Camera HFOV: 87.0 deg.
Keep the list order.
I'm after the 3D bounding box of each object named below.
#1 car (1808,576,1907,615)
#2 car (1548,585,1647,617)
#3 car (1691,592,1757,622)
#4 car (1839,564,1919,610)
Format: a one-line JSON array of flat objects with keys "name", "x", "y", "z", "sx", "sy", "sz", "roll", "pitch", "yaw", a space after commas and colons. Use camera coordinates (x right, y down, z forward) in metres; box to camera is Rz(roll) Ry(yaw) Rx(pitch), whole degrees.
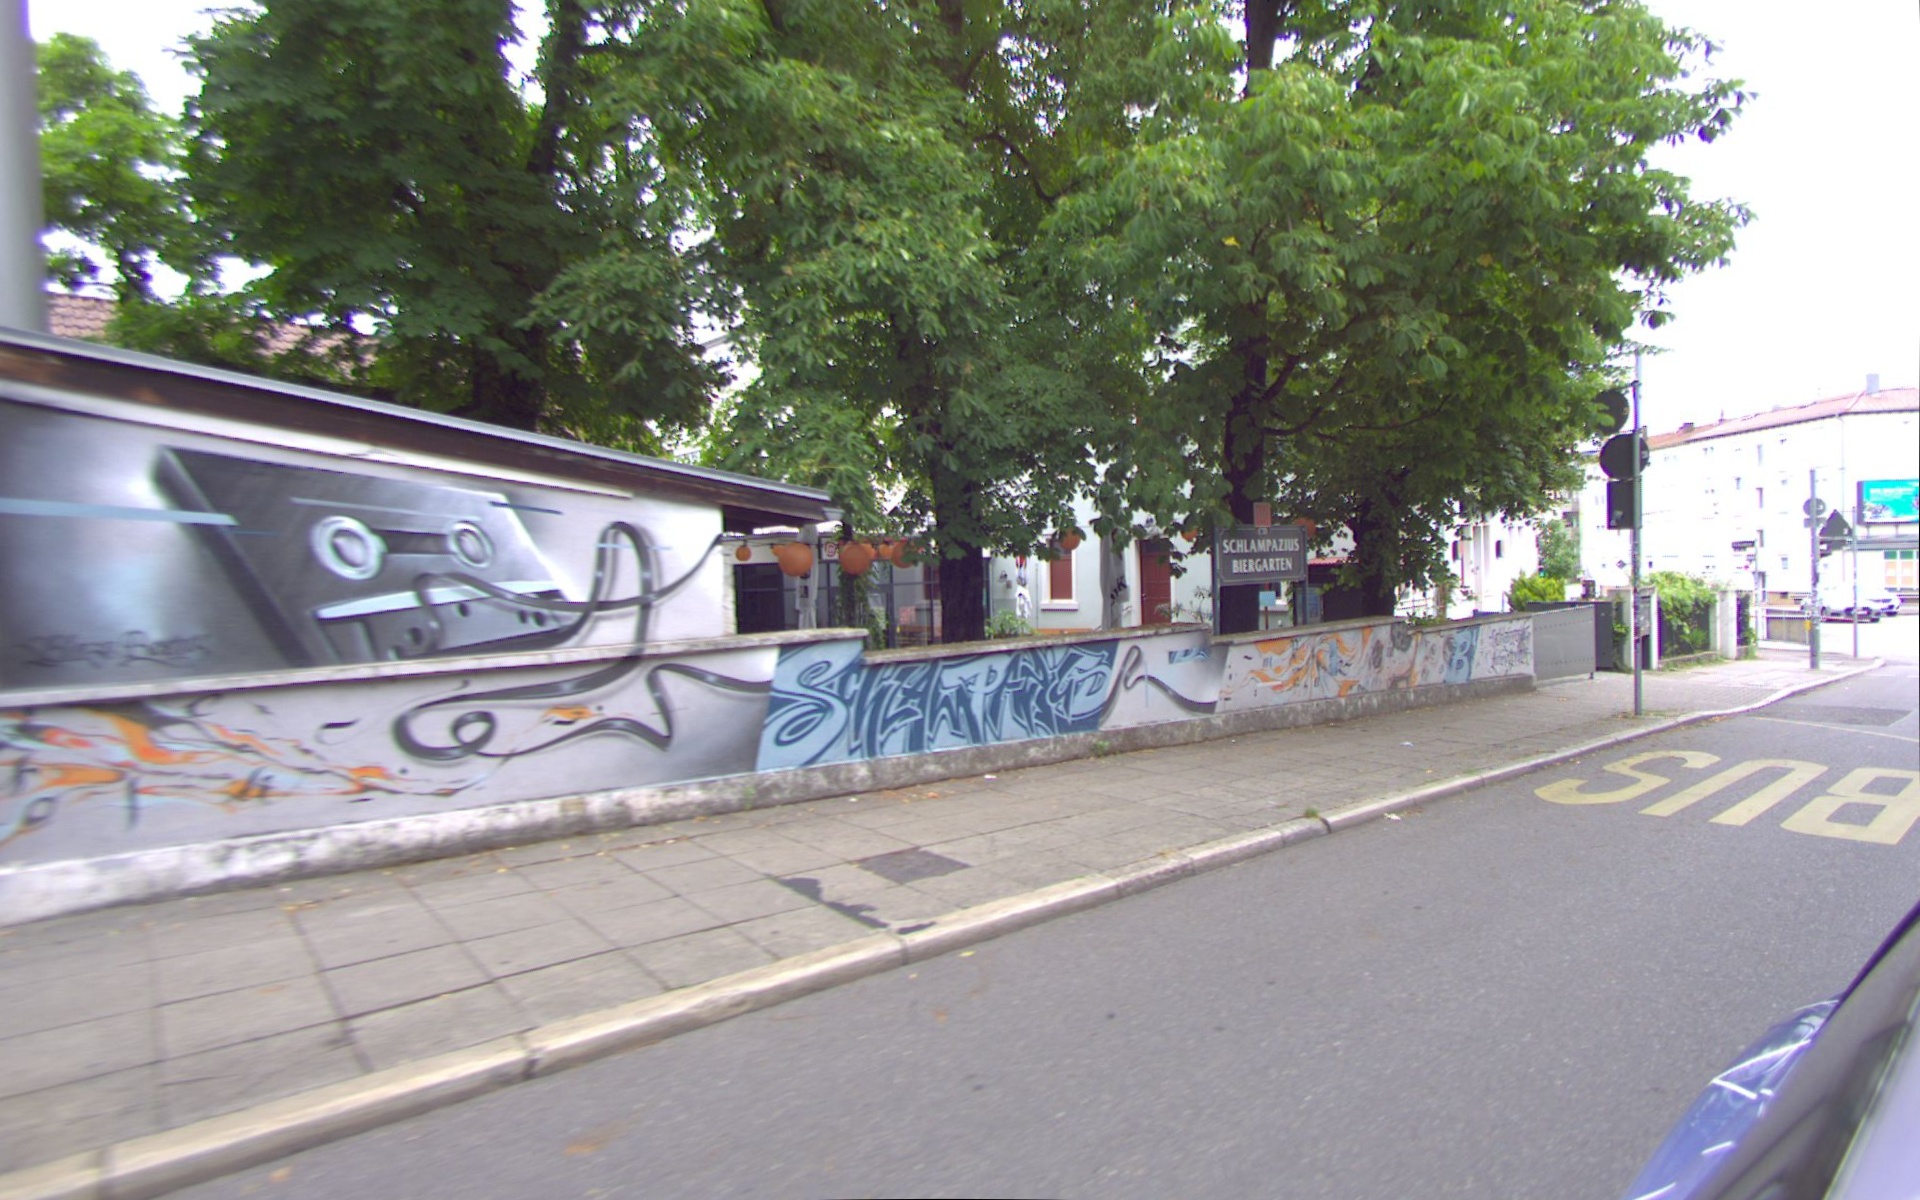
[{"name": "car", "x": 38.409, "y": -0.165, "z": 43.434, "sx": 2.018, "sy": 1.570, "sz": 4.001, "roll": -1, "pitch": -1, "yaw": 25}, {"name": "car", "x": 31.440, "y": 0.046, "z": 50.024, "sx": 3.844, "sy": 1.498, "sz": 1.894, "roll": -1, "pitch": -1, "yaw": 24}, {"name": "car", "x": 41.939, "y": 0.399, "z": 55.626, "sx": 1.932, "sy": 1.570, "sz": 4.003, "roll": -1, "pitch": -1, "yaw": 23}, {"name": "car", "x": 44.055, "y": -0.671, "z": 48.248, "sx": 1.978, "sy": 2.038, "sz": 4.237, "roll": -2, "pitch": 1, "yaw": 23}]
